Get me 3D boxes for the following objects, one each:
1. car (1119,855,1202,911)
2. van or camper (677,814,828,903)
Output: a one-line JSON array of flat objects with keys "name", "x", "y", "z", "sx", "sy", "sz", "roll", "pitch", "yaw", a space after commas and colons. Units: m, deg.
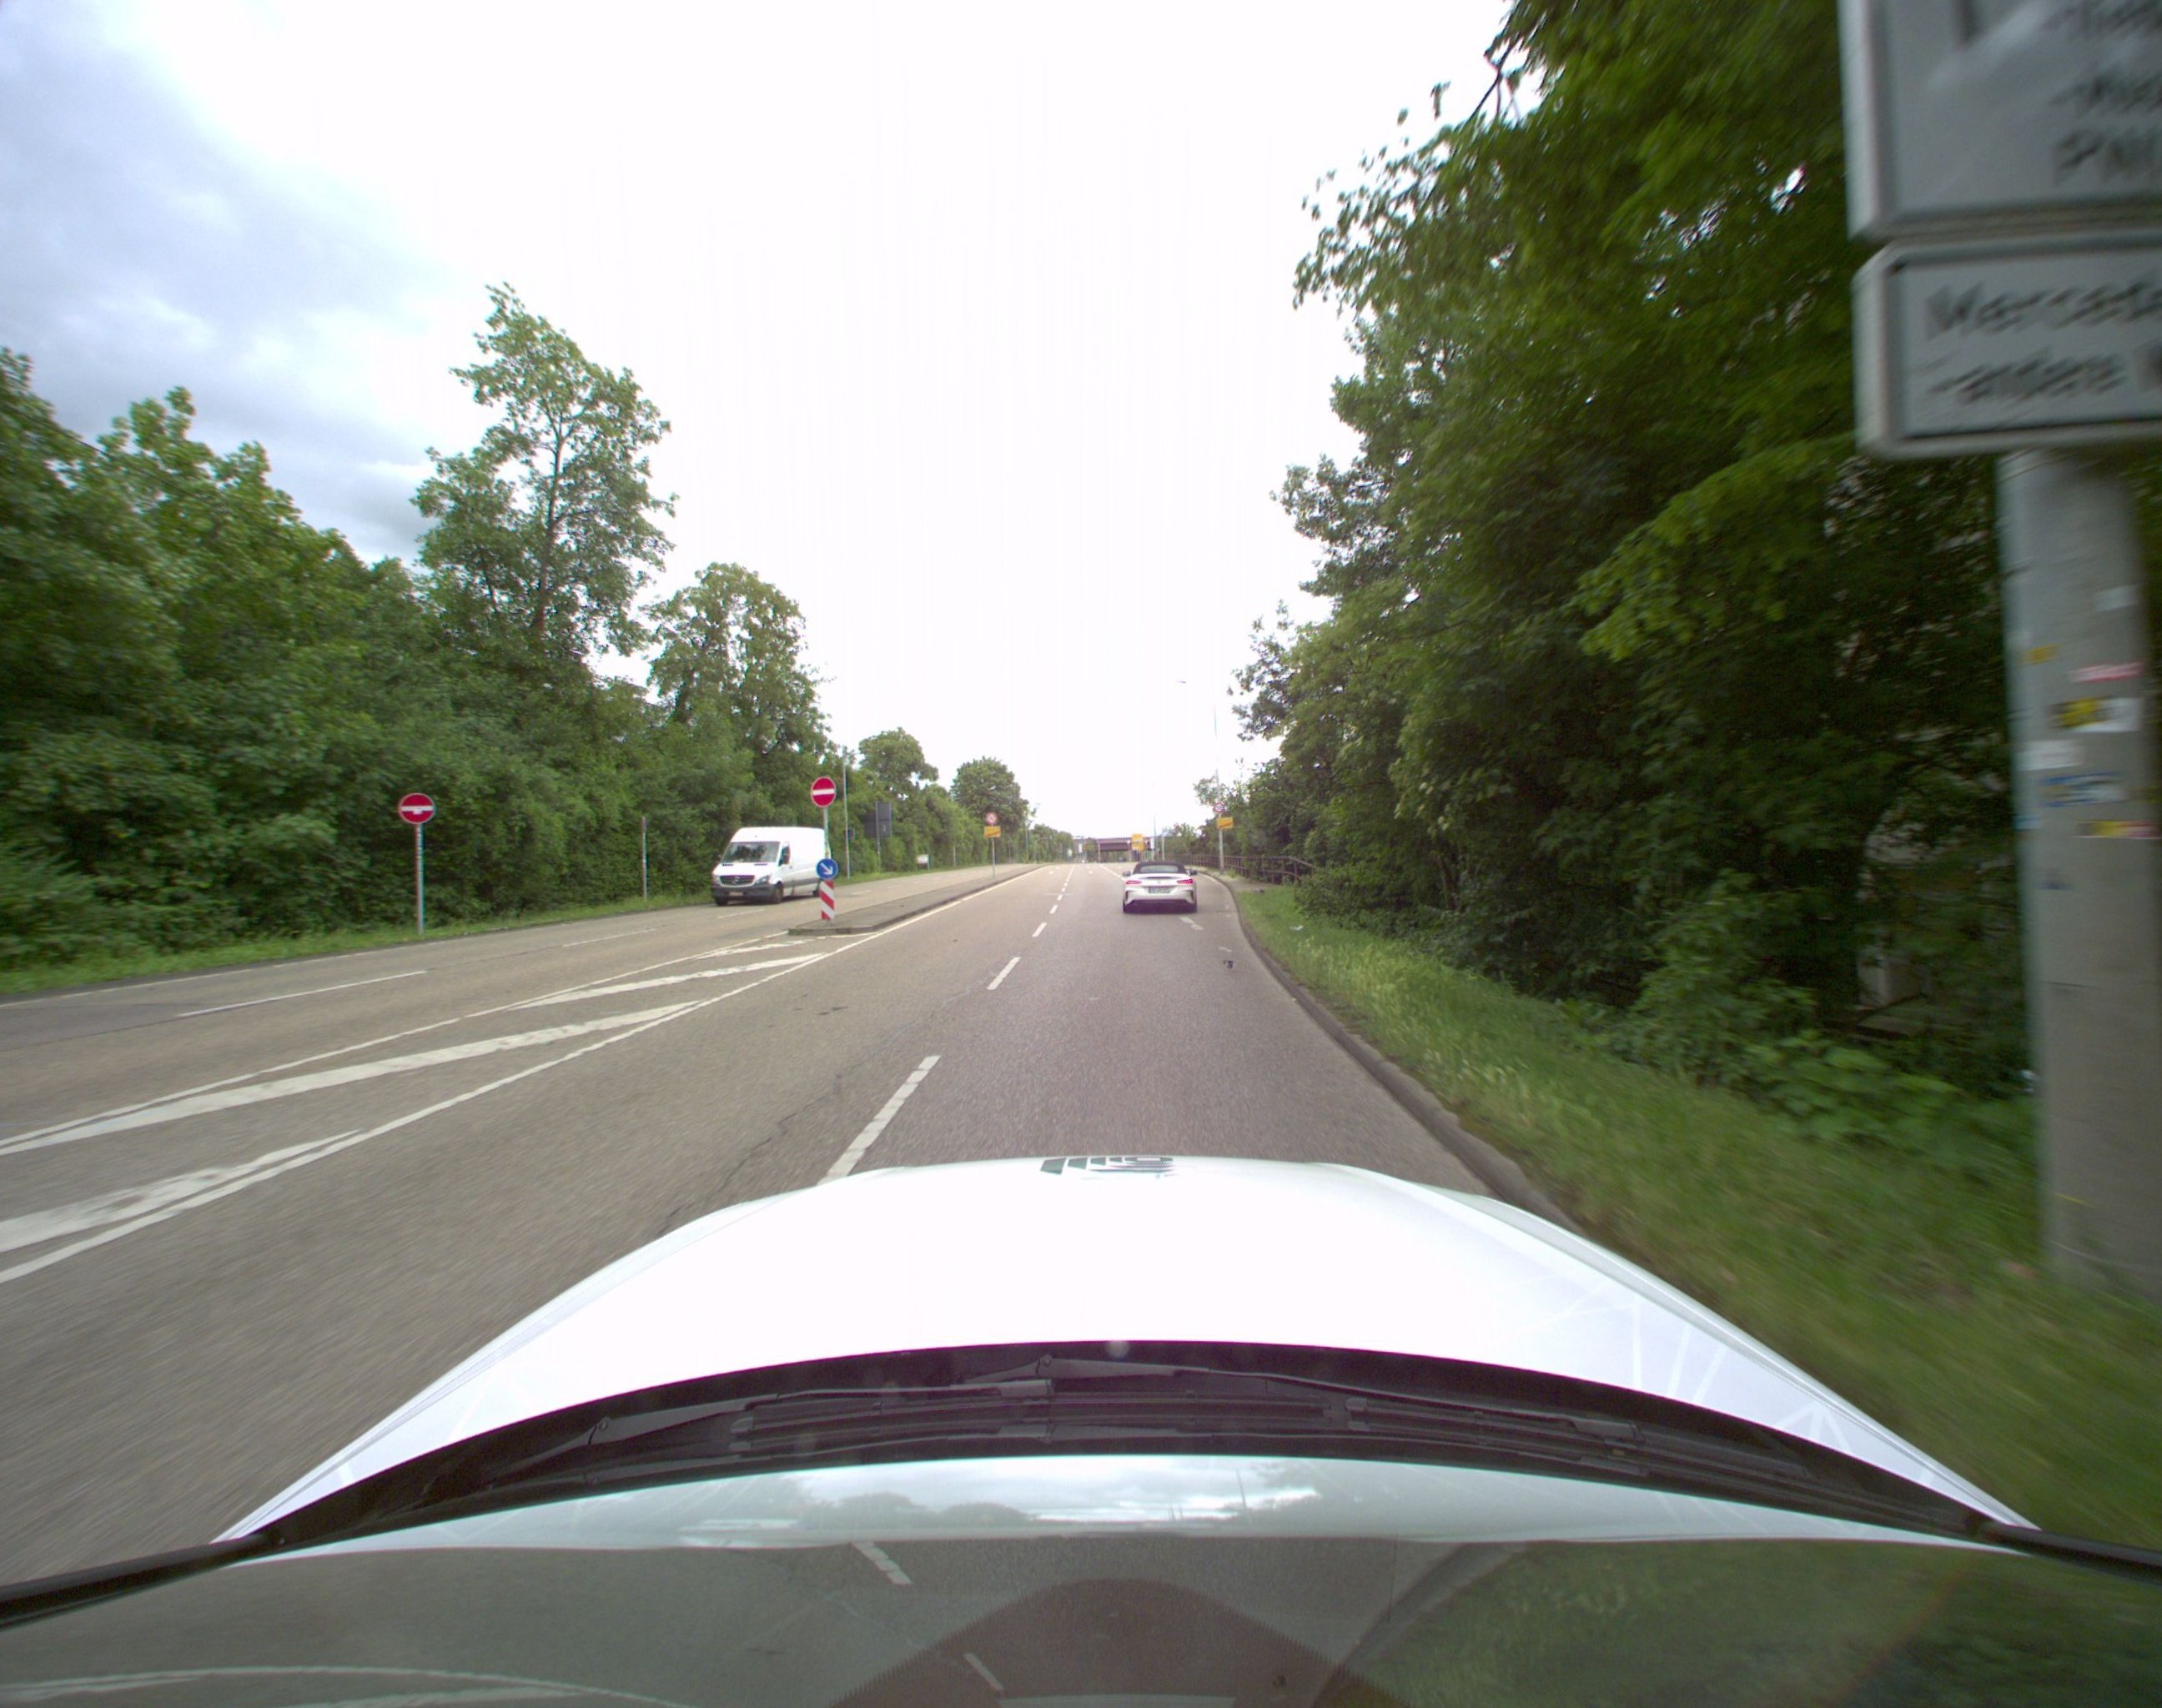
[{"name": "car", "x": 1.947, "y": 0.679, "z": 21.003, "sx": 1.868, "sy": 1.309, "sz": 3.874, "roll": 0, "pitch": 0, "yaw": 2}, {"name": "van or camper", "x": -10.801, "y": 0.103, "z": 27.572, "sx": 2.276, "sy": 2.554, "sz": 6.857, "roll": 2, "pitch": 0, "yaw": -1}]
